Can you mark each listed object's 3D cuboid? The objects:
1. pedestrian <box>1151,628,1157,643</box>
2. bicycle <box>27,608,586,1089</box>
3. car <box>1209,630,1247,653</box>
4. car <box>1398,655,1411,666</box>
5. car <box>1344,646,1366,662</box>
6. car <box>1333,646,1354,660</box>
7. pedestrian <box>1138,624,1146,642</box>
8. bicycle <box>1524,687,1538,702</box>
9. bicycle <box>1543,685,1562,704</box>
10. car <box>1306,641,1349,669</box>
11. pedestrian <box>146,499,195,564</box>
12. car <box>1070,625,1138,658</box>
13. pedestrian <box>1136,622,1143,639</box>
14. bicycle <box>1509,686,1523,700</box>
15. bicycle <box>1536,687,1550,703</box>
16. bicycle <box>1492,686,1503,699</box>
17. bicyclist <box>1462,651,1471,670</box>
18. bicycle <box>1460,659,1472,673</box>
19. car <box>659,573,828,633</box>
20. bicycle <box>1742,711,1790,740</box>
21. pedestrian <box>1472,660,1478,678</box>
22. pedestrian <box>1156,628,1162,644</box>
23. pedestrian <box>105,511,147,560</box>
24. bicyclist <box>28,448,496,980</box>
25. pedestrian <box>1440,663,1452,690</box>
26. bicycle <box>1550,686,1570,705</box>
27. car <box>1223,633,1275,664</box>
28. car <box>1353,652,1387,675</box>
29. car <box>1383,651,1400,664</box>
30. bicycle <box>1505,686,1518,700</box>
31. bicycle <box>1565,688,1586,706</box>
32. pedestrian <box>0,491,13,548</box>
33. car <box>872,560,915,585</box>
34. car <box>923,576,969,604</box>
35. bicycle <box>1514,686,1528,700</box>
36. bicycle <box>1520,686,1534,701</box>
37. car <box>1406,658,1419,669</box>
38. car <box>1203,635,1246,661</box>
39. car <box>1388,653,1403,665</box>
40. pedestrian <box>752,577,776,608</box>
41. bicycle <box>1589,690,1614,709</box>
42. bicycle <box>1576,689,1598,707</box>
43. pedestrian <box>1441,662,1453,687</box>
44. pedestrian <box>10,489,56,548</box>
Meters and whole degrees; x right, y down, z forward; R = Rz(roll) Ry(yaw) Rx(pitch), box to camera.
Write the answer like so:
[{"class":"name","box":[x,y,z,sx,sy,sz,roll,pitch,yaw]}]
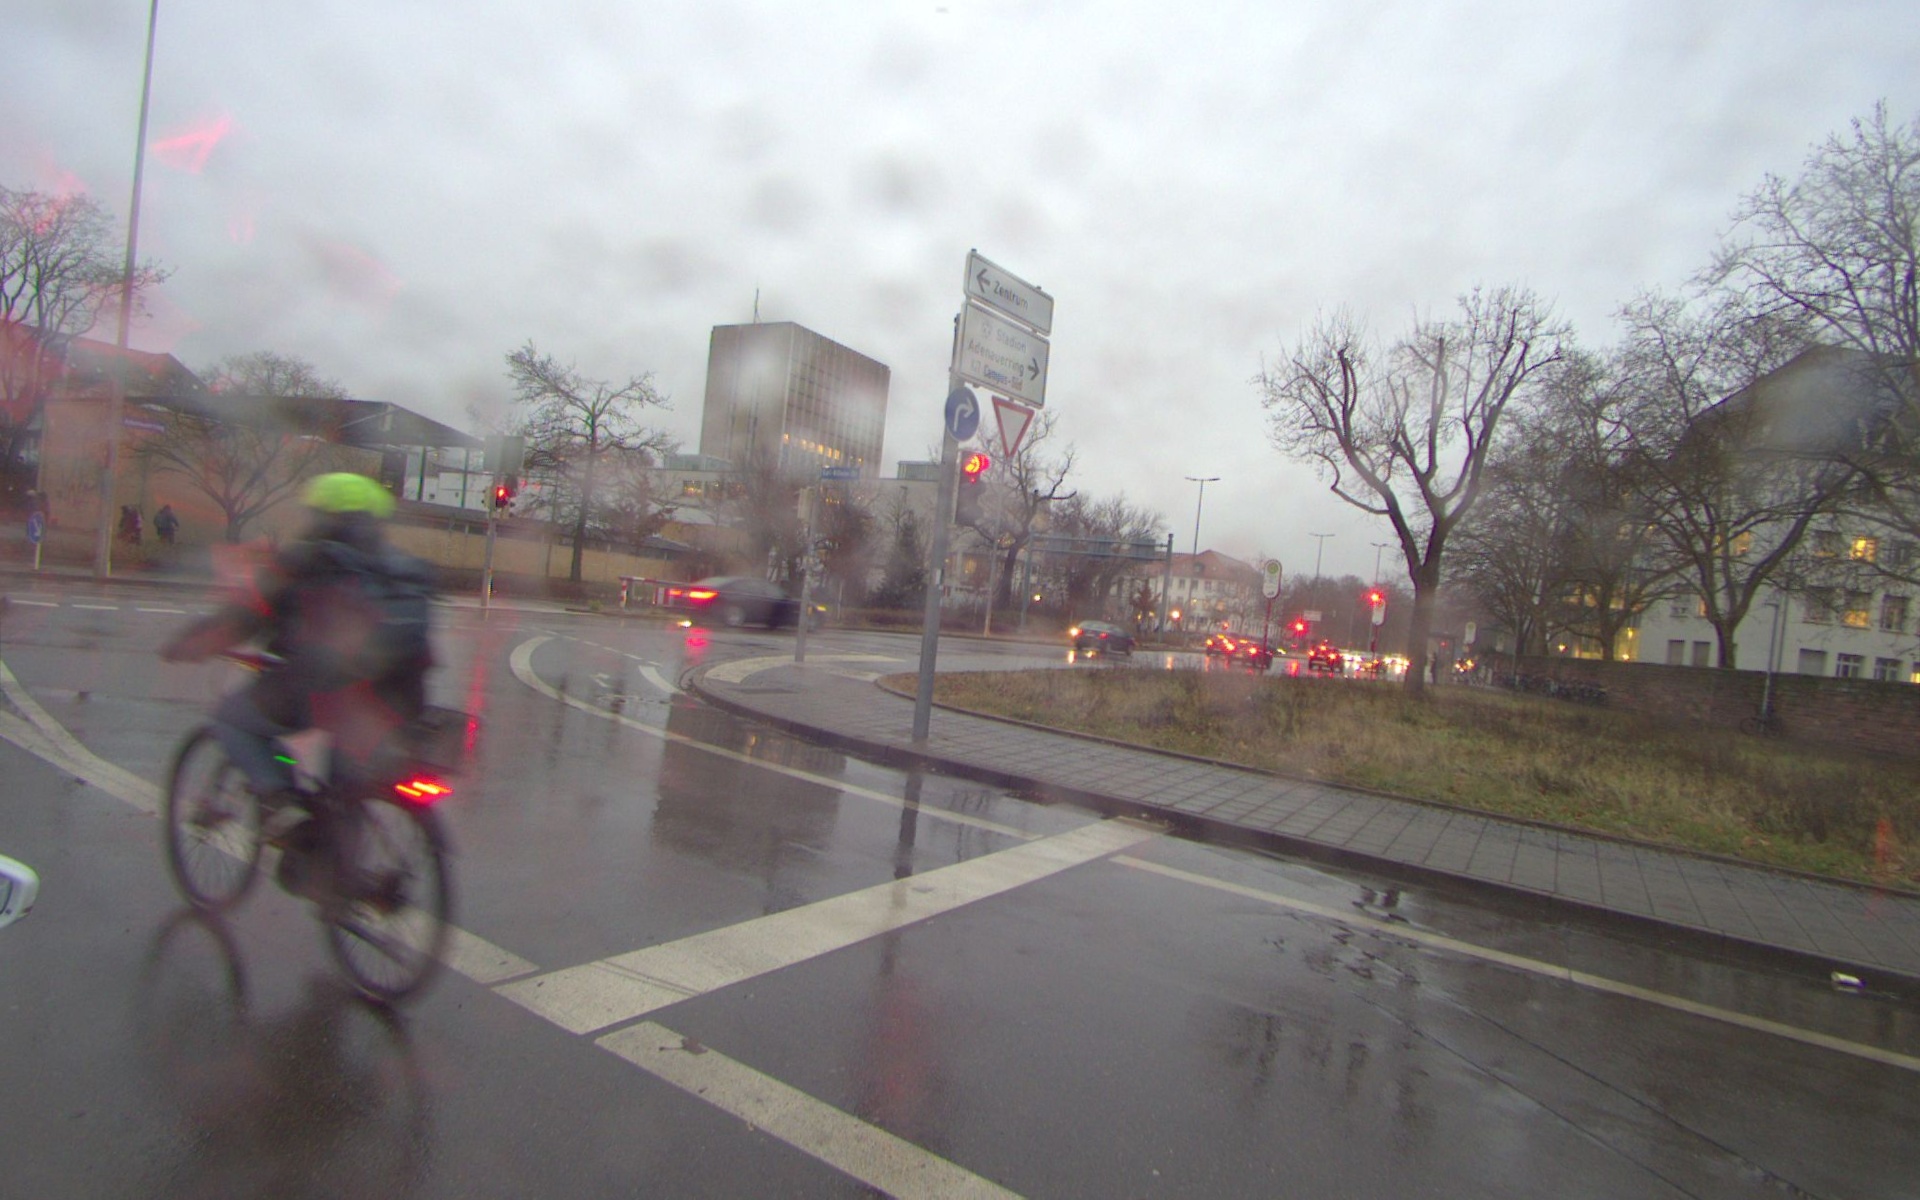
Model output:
[{"class":"pedestrian","box":[21.667,3.972,112.456,0.409,1.725,0.432,7,2,23]},{"class":"bicycle","box":[-2.317,0.697,3.495,1.925,1.087,0.785,6,-2,32]},{"class":"car","box":[25.031,3.910,93.950,2.013,1.903,5.327,6,0,29]},{"class":"car","box":[78.664,10.683,178.018,1.834,1.783,3.993,7,1,27]},{"class":"car","box":[51.644,7.070,131.487,1.966,1.783,3.992,7,1,29]},{"class":"car","box":[53.427,7.394,140.170,1.966,1.783,3.992,7,1,29]},{"class":"pedestrian","box":[17.725,3.241,97.800,0.411,1.725,0.430,8,3,44]},{"class":"bicycle","box":[32.840,5.404,57.861,0.387,0.795,1.532,7,-2,19]},{"class":"bicycle","box":[31.841,5.074,54.082,0.387,0.927,1.532,7,-2,15]},{"class":"car","box":[26.797,4.012,73.248,1.812,1.710,4.311,6,-1,34]},{"class":"pedestrian","box":[-27.510,-2.372,35.057,0.870,2.141,0.894,6,2,-7]},{"class":"car","box":[7.040,2.024,48.851,1.675,1.318,3.754,6,0,35]},{"class":"pedestrian","box":[18.186,3.097,101.884,0.411,1.725,0.430,8,3,44]},{"class":"bicycle","box":[34.349,5.741,62.147,0.387,0.795,1.532,7,-2,20]},{"class":"bicycle","box":[32.412,5.290,55.948,0.387,0.795,1.607,7,-2,22]},{"class":"bicycle","box":[36.390,6.247,68.102,0.387,0.795,1.532,7,-2,20]},{"class":"bicyclist","box":[47.423,5.669,94.183,0.599,1.660,0.453,7,-1,19]},{"class":"bicycle","box":[47.352,6.194,94.169,0.599,1.181,1.682,7,-2,19]},{"class":"car","box":[-6.313,0.131,29.855,1.910,1.318,4.679,6,0,39]},{"class":"bicycle","box":[28.202,4.399,35.221,0.387,0.834,1.386,7,-2,-4]},{"class":"pedestrian","box":[53.456,7.187,104.482,0.313,1.816,0.461,7,2,32]},{"class":"pedestrian","box":[22.215,4.029,112.370,0.409,1.725,0.432,7,2,23]},{"class":"pedestrian","box":[-28.763,-2.217,34.709,1.029,1.553,0.922,8,2,44]},{"class":"bicyclist","box":[-2.359,0.309,3.418,1.115,1.470,0.785,6,-1,32]},{"class":"pedestrian","box":[30.151,4.732,62.413,0.462,1.623,0.486,7,-1,25]},{"class":"bicycle","box":[31.356,4.979,52.551,0.387,0.868,1.532,7,-2,15]},{"class":"car","box":[17.054,2.878,59.178,1.810,1.602,4.128,6,0,31]},{"class":"car","box":[34.239,5.284,83.965,1.811,1.710,4.311,6,0,32]},{"class":"car","box":[66.982,8.953,156.192,1.965,1.783,3.993,7,1,27]},{"class":"bicycle","box":[34.850,5.866,63.621,0.387,0.795,1.532,7,-2,20]},{"class":"bicycle","box":[31.038,4.875,50.740,0.343,0.848,1.493,7,-2,13]},{"class":"pedestrian","box":[-30.509,-2.588,31.471,0.967,1.743,1.132,8,2,42]},{"class":"car","box":[-7.024,-2.908,106.588,2.014,2.102,4.892,6,0,30]},{"class":"car","box":[-1.398,-0.996,103.201,2.014,2.452,5.326,6,0,30]},{"class":"bicycle","box":[33.829,5.613,60.659,0.387,0.795,1.532,7,-2,20]},{"class":"bicycle","box":[33.323,5.486,59.140,0.387,0.795,1.532,7,-2,20]},{"class":"car","box":[86.752,12.220,192.902,1.834,1.783,3.993,7,1,27]},{"class":"car","box":[18.505,3.353,70.269,1.810,1.602,4.128,6,0,30]},{"class":"car","box":[72.368,9.807,166.996,1.834,1.783,3.993,7,1,27]},{"class":"pedestrian","box":[-11.272,-0.435,57.923,0.783,1.624,0.960,8,2,39]},{"class":"bicycle","box":[30.275,4.672,47.471,0.352,0.795,1.415,7,-2,8]},{"class":"bicycle","box":[30.548,4.768,48.995,0.387,0.795,1.533,7,-2,14]},{"class":"pedestrian","box":[39.660,6.067,81.947,0.557,2.040,0.595,8,2,33]},{"class":"pedestrian","box":[-30.965,-2.736,33.613,0.992,1.823,0.908,5,2,-41]}]
